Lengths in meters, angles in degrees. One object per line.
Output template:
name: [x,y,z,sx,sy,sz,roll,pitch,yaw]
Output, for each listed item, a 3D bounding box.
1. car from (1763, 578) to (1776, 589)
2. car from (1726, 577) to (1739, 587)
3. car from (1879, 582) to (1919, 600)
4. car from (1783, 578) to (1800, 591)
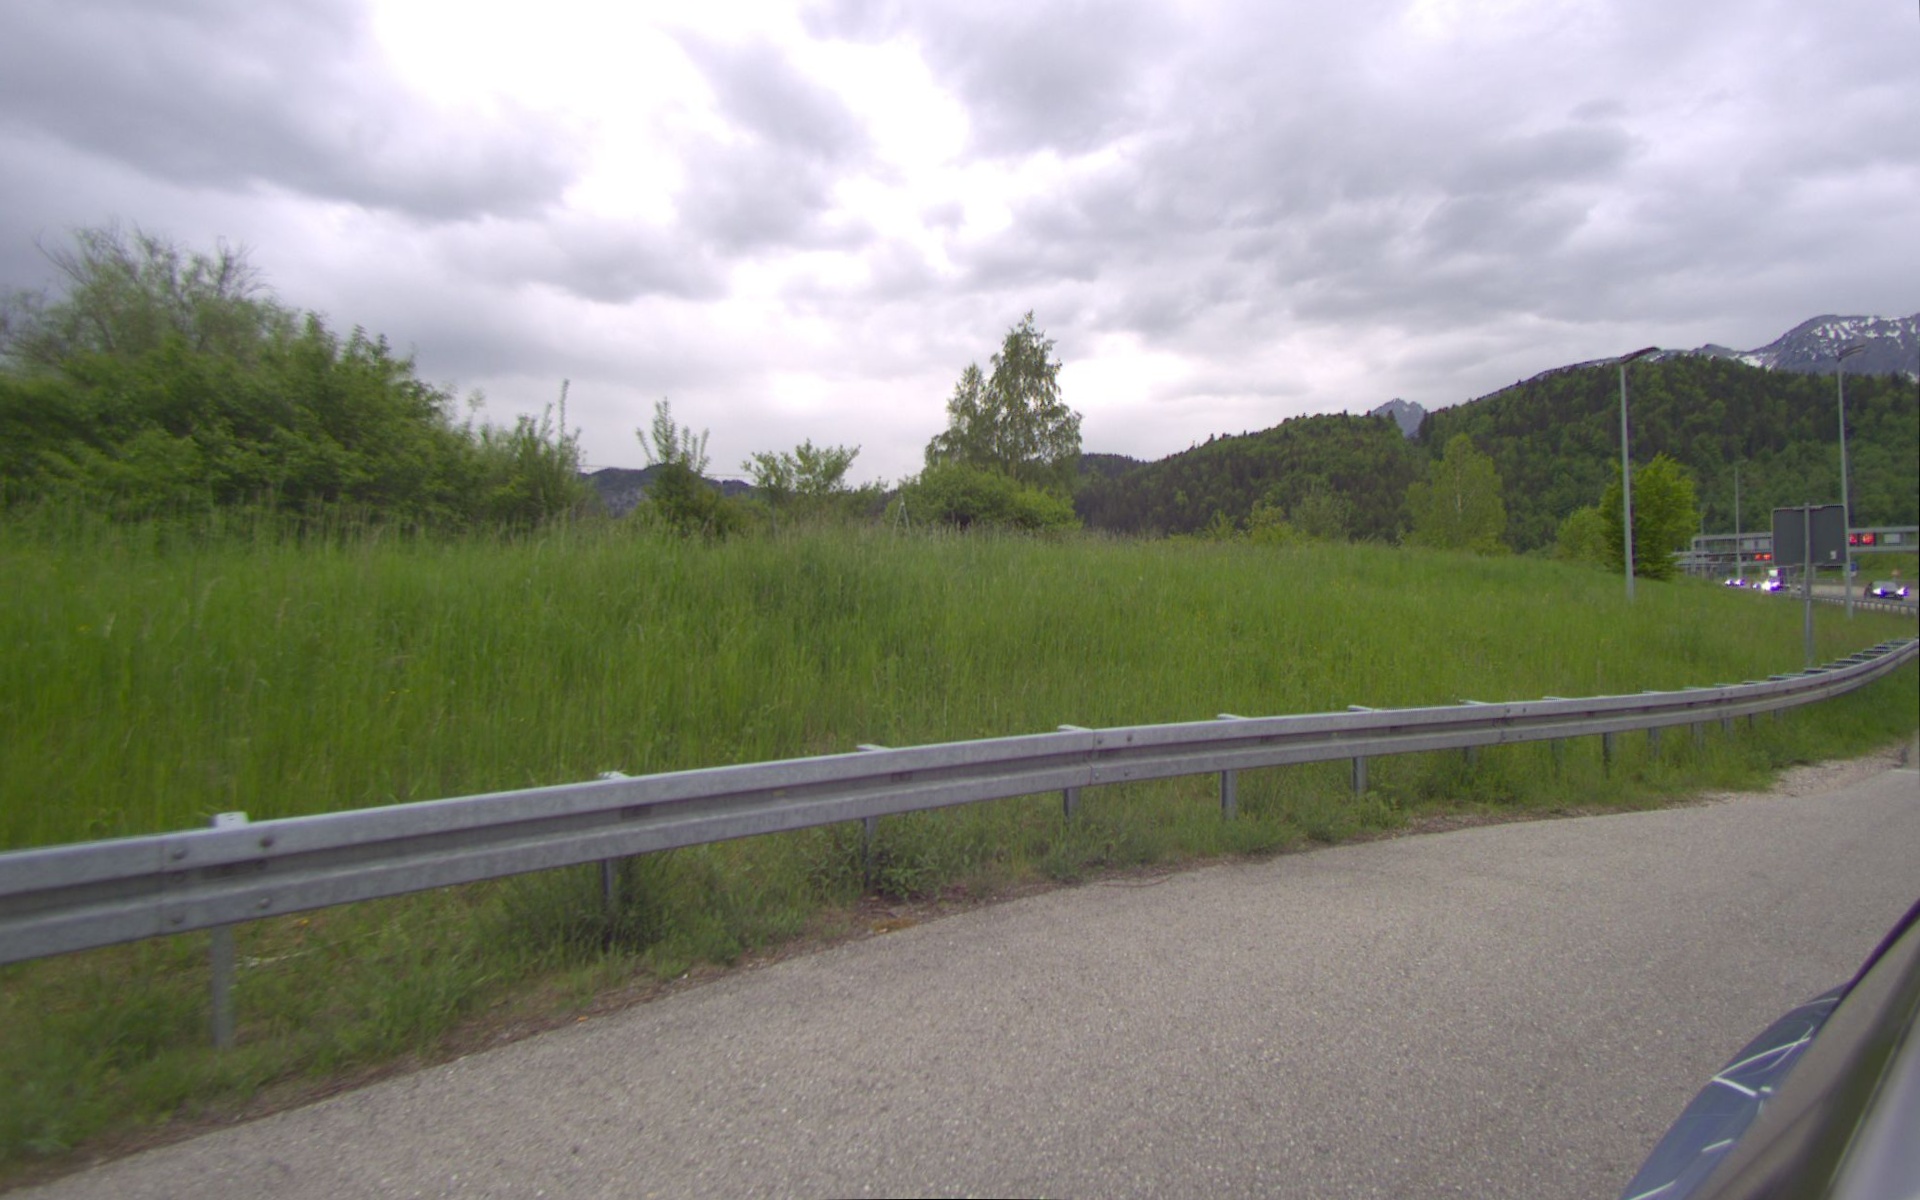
car: [126.803,-2.532,158.568,1.623,1.719,3.448,1,1,38]
car: [155.577,-3.622,203.792,1.987,2.039,3.950,1,1,35]
car: [71.043,-0.694,76.590,1.654,1.353,3.745,1,2,34]
car: [110.754,-2.060,134.800,1.623,1.719,3.448,1,1,38]
